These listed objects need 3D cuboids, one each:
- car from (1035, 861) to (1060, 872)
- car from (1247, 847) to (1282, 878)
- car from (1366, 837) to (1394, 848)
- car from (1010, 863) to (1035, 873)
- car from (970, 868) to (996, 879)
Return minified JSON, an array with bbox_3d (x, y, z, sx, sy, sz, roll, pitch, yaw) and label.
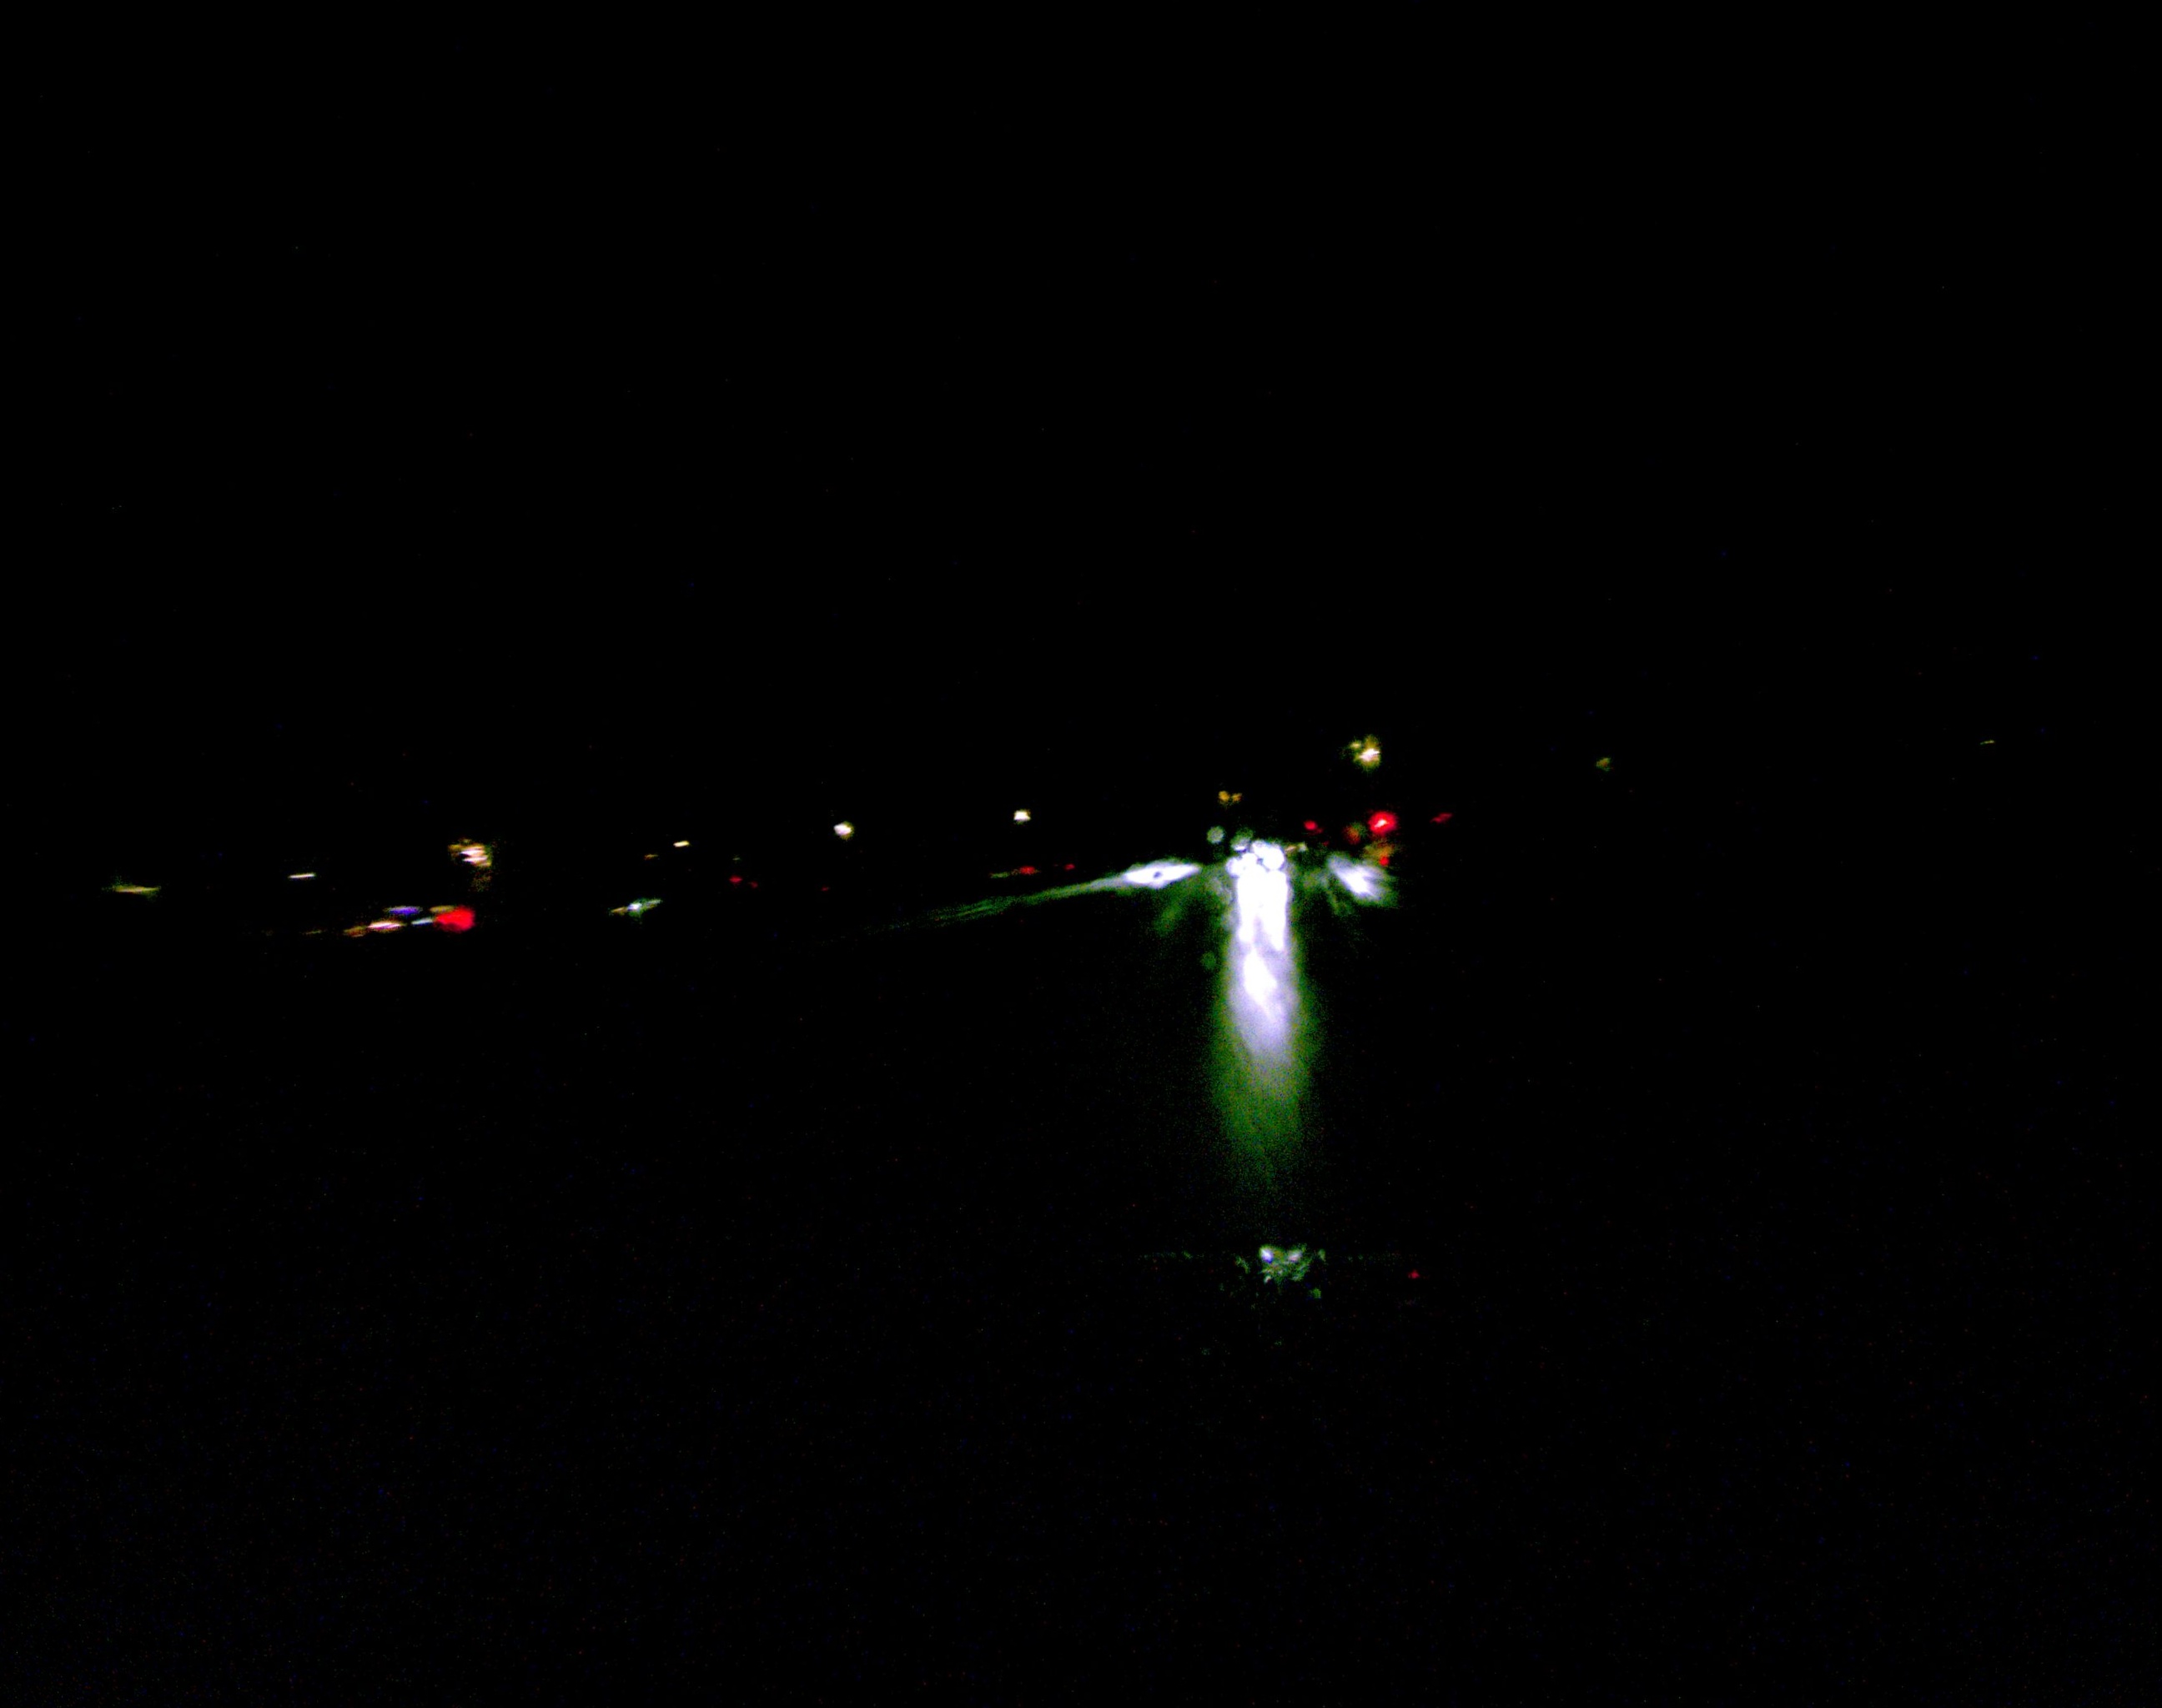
[{"bbox_3d":[-5.432,2.083,124.225,3.997,1.432,1.719,-4,-1,-2],"label":"car"},{"bbox_3d":[11.702,0.479,48.315,1.996,1.737,4.104,-4,0,15],"label":"car"},{"bbox_3d":[50.488,-2.005,128.326,3.997,1.432,1.719,-5,-2,0],"label":"car"},{"bbox_3d":[-9.704,2.331,126.719,3.997,1.432,1.719,-5,0,0],"label":"car"},{"bbox_3d":[-15.950,3.173,123.971,3.997,1.432,1.719,-5,-2,0],"label":"car"}]
